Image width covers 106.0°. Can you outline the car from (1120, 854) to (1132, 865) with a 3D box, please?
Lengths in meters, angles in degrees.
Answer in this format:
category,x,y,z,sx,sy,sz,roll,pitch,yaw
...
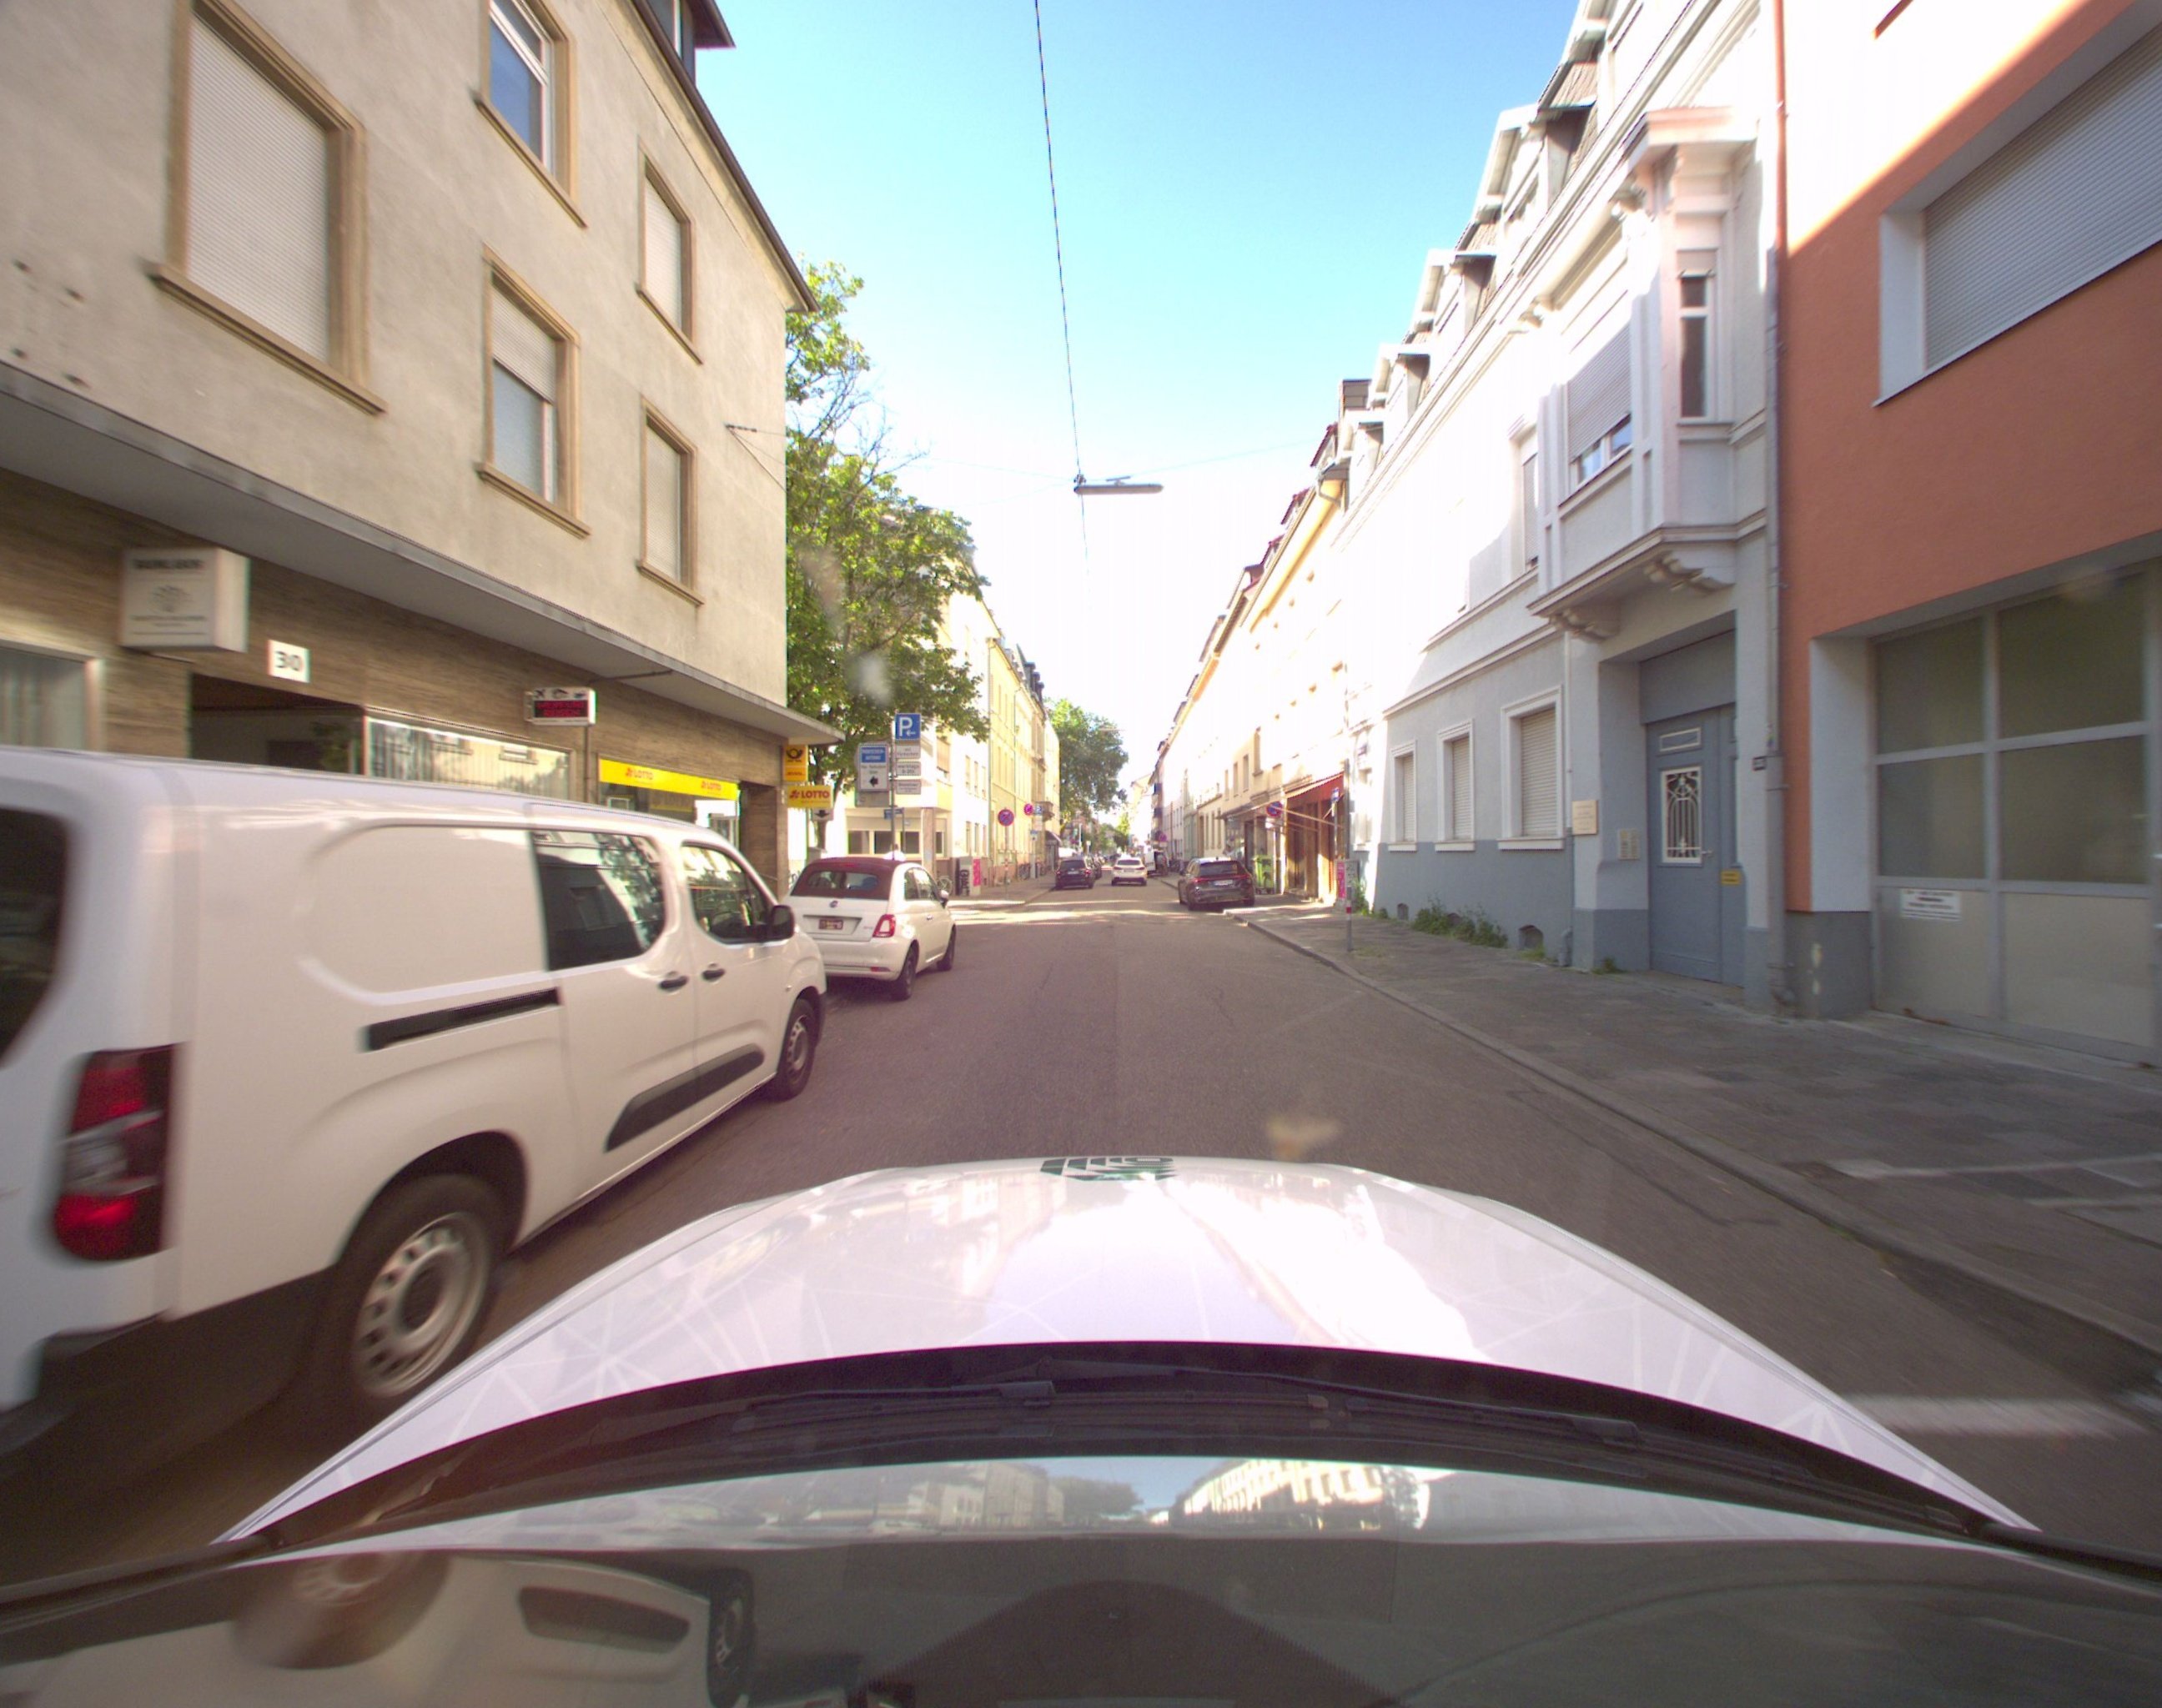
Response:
category,x,y,z,sx,sy,sz,roll,pitch,yaw
car,8.068,1.021,145.377,1.936,1.948,4.077,0,0,0

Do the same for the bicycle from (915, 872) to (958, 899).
category,x,y,z,sx,sy,sz,roll,pitch,yaw
bicycle,-5.113,1.101,28.949,0.426,0.882,1.579,1,0,42

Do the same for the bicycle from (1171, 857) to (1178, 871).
category,x,y,z,sx,sy,sz,roll,pitch,yaw
bicycle,8.130,0.883,70.723,0.565,1.153,1.871,-1,-1,7

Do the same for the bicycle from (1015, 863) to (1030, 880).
category,x,y,z,sx,sy,sz,roll,pitch,yaw
bicycle,-3.483,1.027,48.292,0.358,1.028,1.923,-1,-1,12

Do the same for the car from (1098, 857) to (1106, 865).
category,x,y,z,sx,sy,sz,roll,pitch,yaw
car,4.588,1.526,174.503,1.566,1.585,3.613,-1,-1,3

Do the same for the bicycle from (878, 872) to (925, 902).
category,x,y,z,sx,sy,sz,roll,pitch,yaw
bicycle,-6.079,1.107,27.637,0.399,0.897,1.595,-2,0,43

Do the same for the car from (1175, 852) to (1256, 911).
category,x,y,z,sx,sy,sz,roll,pitch,yaw
car,3.893,0.749,24.263,1.794,1.579,4.900,0,0,2

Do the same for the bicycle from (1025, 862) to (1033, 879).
category,x,y,z,sx,sy,sz,roll,pitch,yaw
bicycle,-3.287,1.060,51.639,0.400,1.056,1.836,-1,-1,-1

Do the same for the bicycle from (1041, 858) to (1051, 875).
category,x,y,z,sx,sy,sz,roll,pitch,yaw
bicycle,-2.653,0.918,61.578,0.508,1.277,1.868,-1,-1,4

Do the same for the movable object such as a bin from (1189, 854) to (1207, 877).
category,x,y,z,sx,sy,sz,roll,pitch,yaw
movable object such as a bin,7.221,0.720,50.212,0.834,1.389,1.297,-3,-2,1

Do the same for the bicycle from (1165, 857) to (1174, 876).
category,x,y,z,sx,sy,sz,roll,pitch,yaw
bicycle,6.198,0.853,56.988,0.572,1.271,2.203,-3,-1,6

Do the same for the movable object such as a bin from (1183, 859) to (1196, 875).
category,x,y,z,sx,sy,sz,roll,pitch,yaw
movable object such as a bin,7.557,0.872,56.802,0.793,1.096,0.642,-1,-1,4

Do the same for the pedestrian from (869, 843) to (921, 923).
category,x,y,z,sx,sy,sz,roll,pitch,yaw
pedestrian,-4.408,0.682,19.386,0.907,1.833,1.246,-1,-1,2

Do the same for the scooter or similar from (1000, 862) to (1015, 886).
category,x,y,z,sx,sy,sz,roll,pitch,yaw
scooter or similar,-3.716,1.016,41.298,0.451,1.181,1.693,-1,-1,5

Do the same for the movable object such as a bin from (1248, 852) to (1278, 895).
category,x,y,z,sx,sy,sz,roll,pitch,yaw
movable object such as a bin,6.351,0.662,28.405,0.743,1.436,1.374,-4,-1,4

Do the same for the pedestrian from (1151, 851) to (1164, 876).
category,x,y,z,sx,sy,sz,roll,pitch,yaw
pedestrian,5.577,0.700,59.339,0.878,1.836,0.868,-1,-1,0

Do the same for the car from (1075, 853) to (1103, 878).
category,x,y,z,sx,sy,sz,roll,pitch,yaw
car,0.670,0.836,61.465,1.928,1.736,5.145,-2,0,2

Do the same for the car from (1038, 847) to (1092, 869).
category,x,y,z,sx,sy,sz,roll,pitch,yaw
car,-2.002,0.475,105.662,6.710,2.555,2.148,2,-1,3

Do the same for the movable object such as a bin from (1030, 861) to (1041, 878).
category,x,y,z,sx,sy,sz,roll,pitch,yaw
movable object such as a bin,-3.083,1.032,54.965,0.733,1.089,0.682,-1,1,-2

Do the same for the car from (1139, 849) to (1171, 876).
category,x,y,z,sx,sy,sz,roll,pitch,yaw
car,5.638,0.628,62.652,1.976,1.883,5.602,-4,0,2

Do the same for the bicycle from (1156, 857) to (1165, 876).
category,x,y,z,sx,sy,sz,roll,pitch,yaw
bicycle,5.534,0.864,56.685,0.572,1.320,2.203,-2,0,6

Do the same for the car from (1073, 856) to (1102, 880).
category,x,y,z,sx,sy,sz,roll,pitch,yaw
car,0.488,0.956,55.945,1.706,1.531,4.371,-2,0,4

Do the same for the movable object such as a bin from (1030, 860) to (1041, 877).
category,x,y,z,sx,sy,sz,roll,pitch,yaw
movable object such as a bin,-3.076,1.010,55.587,0.717,1.132,0.584,-1,-1,-2

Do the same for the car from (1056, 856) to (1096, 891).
category,x,y,z,sx,sy,sz,roll,pitch,yaw
car,-0.195,0.906,39.528,1.707,1.488,4.853,-3,0,2

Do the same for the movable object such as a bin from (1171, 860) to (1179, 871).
category,x,y,z,sx,sy,sz,roll,pitch,yaw
movable object such as a bin,8.285,1.001,71.987,0.575,0.924,0.608,-3,-1,2

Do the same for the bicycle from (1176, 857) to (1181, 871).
category,x,y,z,sx,sy,sz,roll,pitch,yaw
bicycle,8.163,0.835,68.296,0.403,1.206,2.162,-1,-1,6

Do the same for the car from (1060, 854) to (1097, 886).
category,x,y,z,sx,sy,sz,roll,pitch,yaw
car,-0.096,0.851,45.390,1.737,1.615,4.606,-2,0,3

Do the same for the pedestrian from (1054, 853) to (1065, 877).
category,x,y,z,sx,sy,sz,roll,pitch,yaw
pedestrian,-1.606,0.824,61.316,0.762,1.714,0.883,0,0,1

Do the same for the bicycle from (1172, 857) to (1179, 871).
category,x,y,z,sx,sy,sz,roll,pitch,yaw
bicycle,8.097,0.857,69.634,0.435,1.206,2.272,-1,-1,9

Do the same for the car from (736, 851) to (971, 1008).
category,x,y,z,sx,sy,sz,roll,pitch,yaw
car,-2.555,0.769,10.086,1.660,1.560,3.725,-1,0,3

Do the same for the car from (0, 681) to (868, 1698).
category,x,y,z,sx,sy,sz,roll,pitch,yaw
car,-2.626,0.659,3.938,1.760,1.898,4.810,-3,0,1

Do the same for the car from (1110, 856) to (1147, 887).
category,x,y,z,sx,sy,sz,roll,pitch,yaw
car,2.431,0.898,42.603,1.817,1.514,3.825,-1,0,1

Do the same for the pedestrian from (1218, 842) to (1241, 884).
category,x,y,z,sx,sy,sz,roll,pitch,yaw
pedestrian,6.760,0.418,37.061,0.650,1.860,0.744,-3,0,-20
